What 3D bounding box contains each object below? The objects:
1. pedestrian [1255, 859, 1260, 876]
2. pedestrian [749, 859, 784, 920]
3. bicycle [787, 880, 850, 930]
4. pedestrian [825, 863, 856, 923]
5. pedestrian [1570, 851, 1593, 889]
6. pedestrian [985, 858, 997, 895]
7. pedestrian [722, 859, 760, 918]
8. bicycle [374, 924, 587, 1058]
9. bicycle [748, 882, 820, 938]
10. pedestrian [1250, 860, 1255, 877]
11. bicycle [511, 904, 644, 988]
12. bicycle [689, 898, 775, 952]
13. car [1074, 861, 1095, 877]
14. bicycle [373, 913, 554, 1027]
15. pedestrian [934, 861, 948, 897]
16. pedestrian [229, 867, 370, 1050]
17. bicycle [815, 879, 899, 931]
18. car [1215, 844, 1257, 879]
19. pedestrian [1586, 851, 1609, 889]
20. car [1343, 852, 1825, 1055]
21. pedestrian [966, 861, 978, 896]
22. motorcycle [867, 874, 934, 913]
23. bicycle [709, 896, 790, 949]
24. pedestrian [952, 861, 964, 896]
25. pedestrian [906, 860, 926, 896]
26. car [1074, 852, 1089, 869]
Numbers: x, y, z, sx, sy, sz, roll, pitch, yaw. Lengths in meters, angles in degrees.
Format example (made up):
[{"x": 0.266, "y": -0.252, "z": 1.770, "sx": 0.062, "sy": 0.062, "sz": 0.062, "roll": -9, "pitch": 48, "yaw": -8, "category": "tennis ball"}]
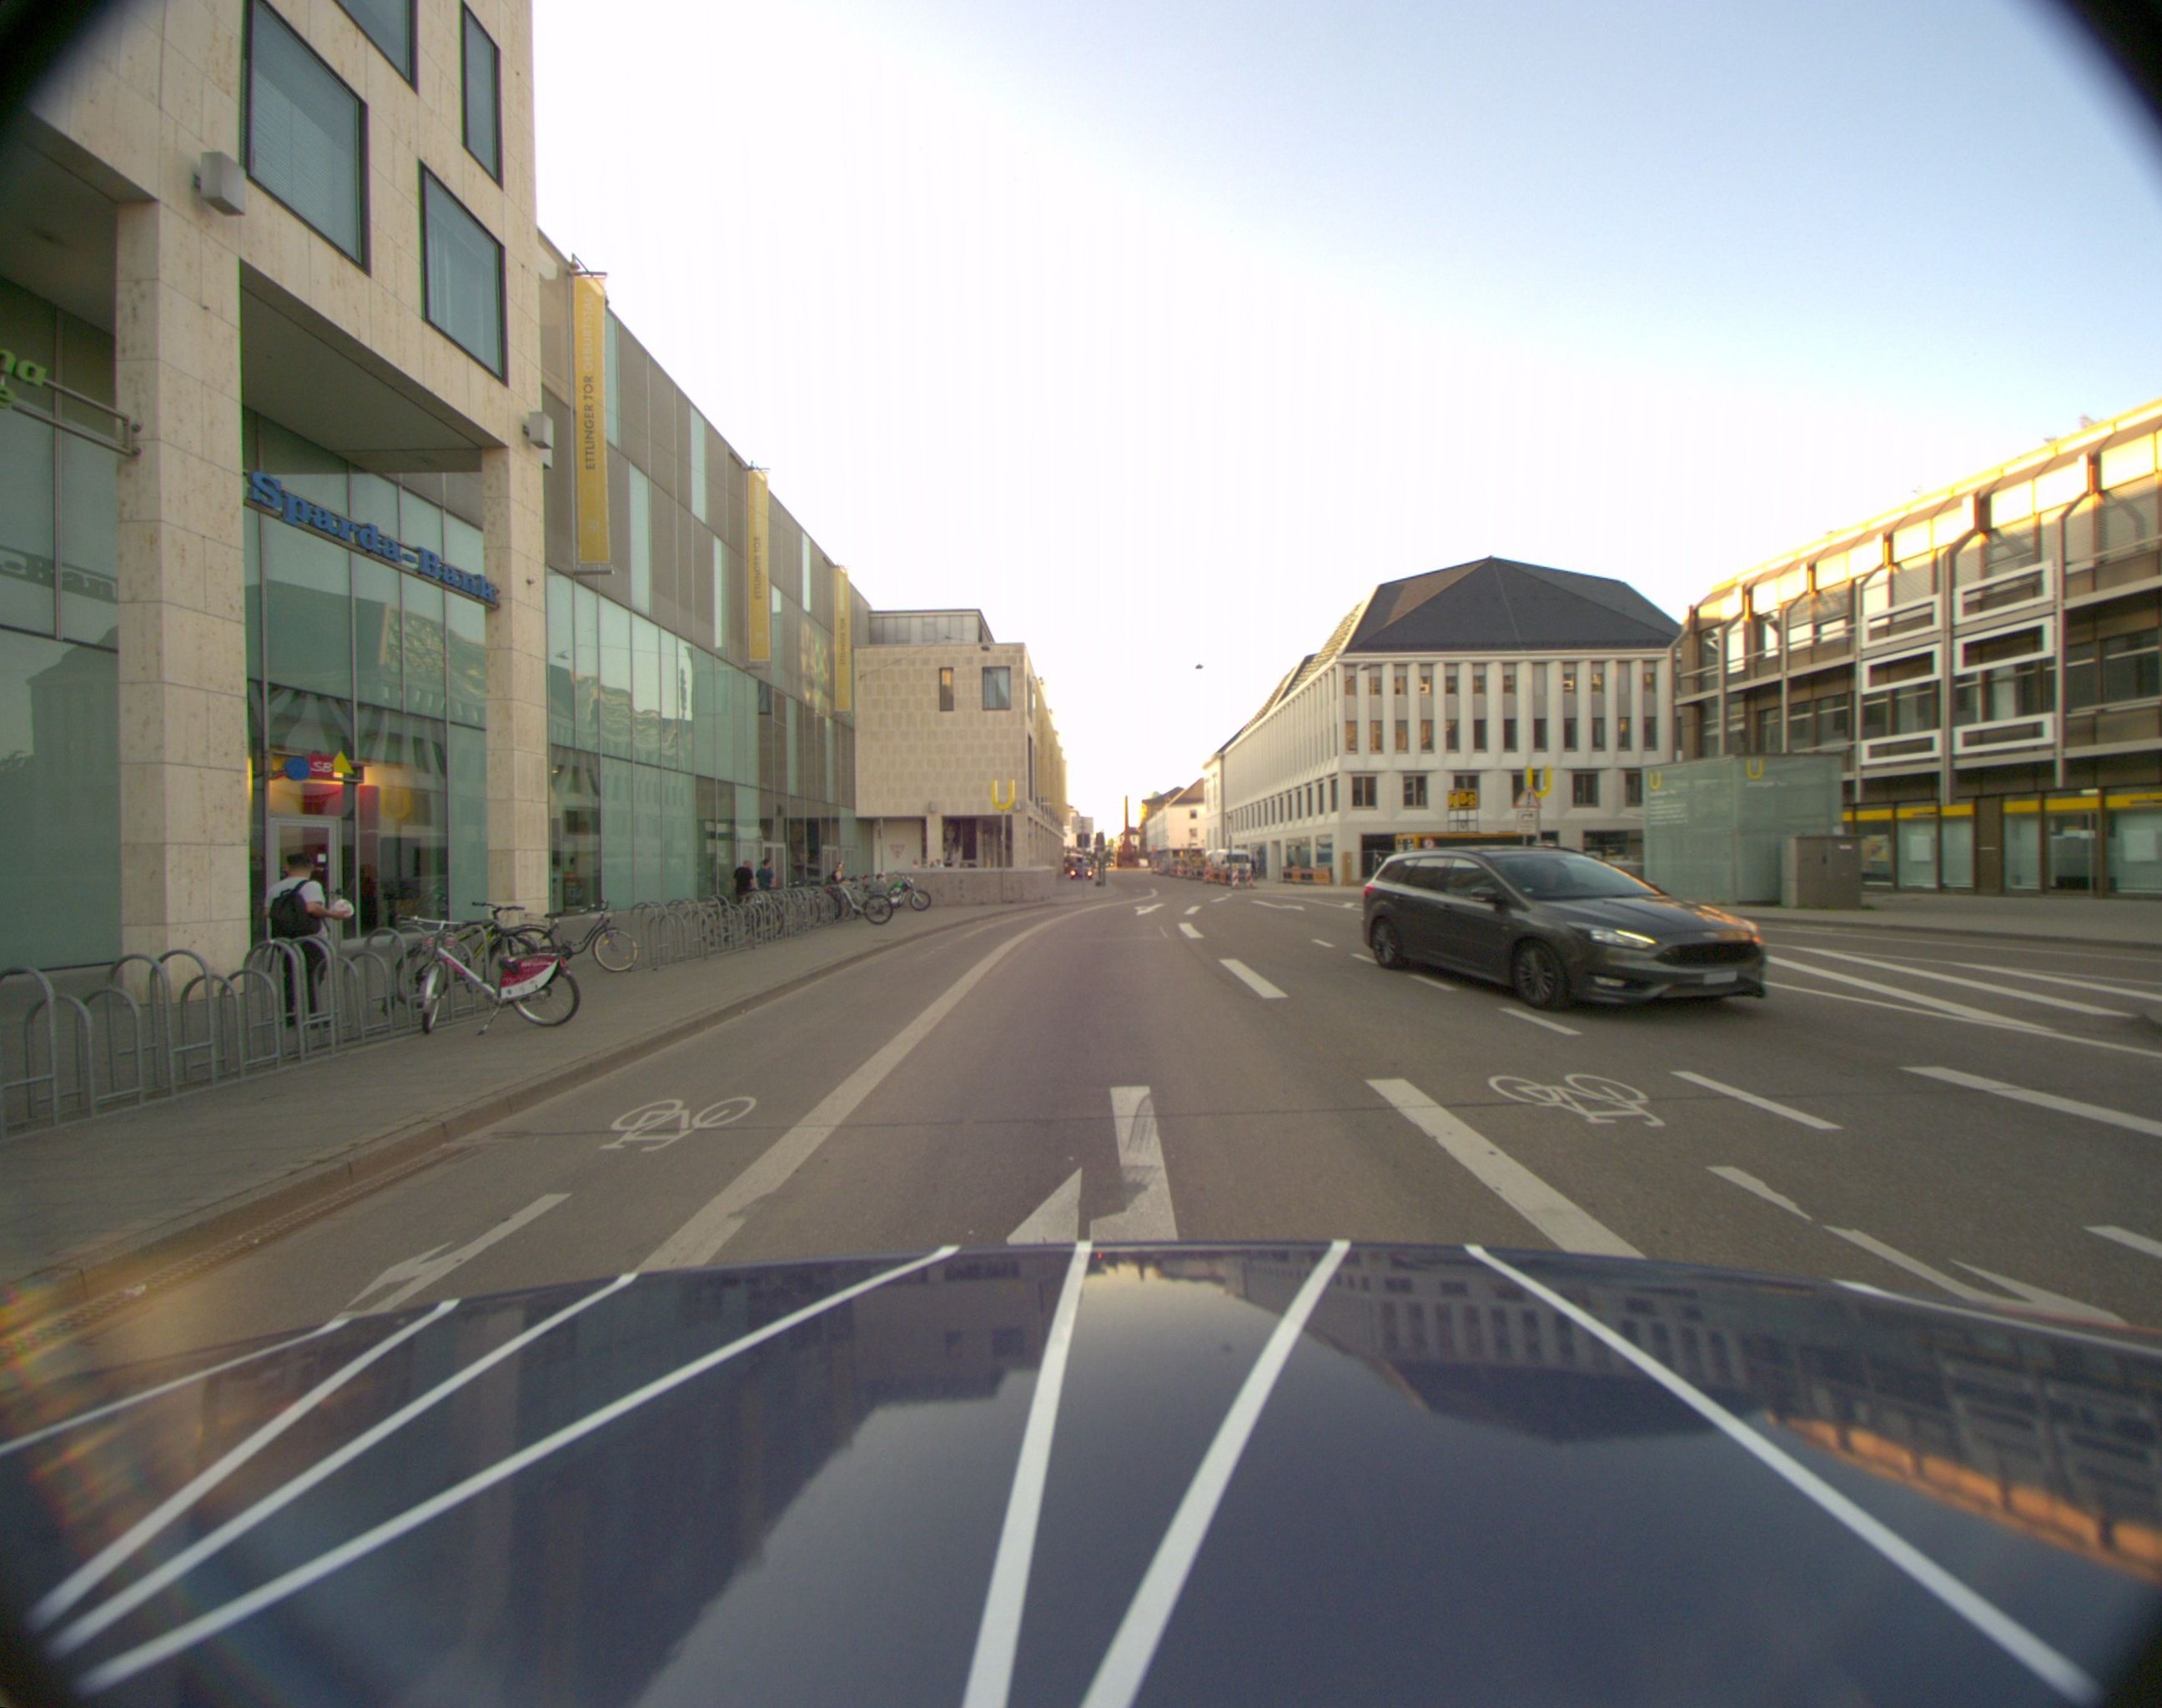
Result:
[{"x": 14.031, "y": 1.082, "z": 60.362, "sx": 0.350, "sy": 1.308, "sz": 0.338, "roll": -1, "pitch": 0, "yaw": 1, "category": "pedestrian"}, {"x": -8.899, "y": 0.975, "z": 21.530, "sx": 0.698, "sy": 1.686, "sz": 0.820, "roll": -1, "pitch": 0, "yaw": -7, "category": "pedestrian"}, {"x": -6.602, "y": 1.268, "z": 19.164, "sx": 1.345, "sy": 1.157, "sz": 0.518, "roll": -3, "pitch": 0, "yaw": -1, "category": "bicycle"}, {"x": -6.673, "y": 1.060, "z": 21.086, "sx": 0.809, "sy": 1.633, "sz": 0.646, "roll": -1, "pitch": 0, "yaw": -18, "category": "pedestrian"}, {"x": 19.887, "y": 0.644, "z": 30.200, "sx": 0.532, "sy": 1.487, "sz": 0.555, "roll": -1, "pitch": 0, "yaw": 1, "category": "pedestrian"}, {"x": -4.325, "y": 1.085, "z": 36.428, "sx": 0.454, "sy": 1.733, "sz": 0.493, "roll": -1, "pitch": 0, "yaw": 3, "category": "pedestrian"}, {"x": -9.686, "y": 0.965, "z": 21.675, "sx": 0.741, "sy": 1.638, "sz": 0.820, "roll": -1, "pitch": 0, "yaw": -7, "category": "pedestrian"}, {"x": -5.397, "y": 1.223, "z": 6.867, "sx": 1.518, "sy": 1.057, "sz": 0.466, "roll": -3, "pitch": 0, "yaw": 1, "category": "bicycle"}, {"x": -6.658, "y": 1.241, "z": 17.078, "sx": 1.345, "sy": 1.157, "sz": 0.518, "roll": -3, "pitch": 0, "yaw": -1, "category": "bicycle"}, {"x": 13.594, "y": 1.161, "z": 60.313, "sx": 0.350, "sy": 1.308, "sz": 0.338, "roll": -1, "pitch": 0, "yaw": 1, "category": "pedestrian"}, {"x": -7.301, "y": 1.318, "z": 11.073, "sx": 1.447, "sy": 1.058, "sz": 0.580, "roll": -3, "pitch": 0, "yaw": -10, "category": "bicycle"}, {"x": -6.653, "y": 1.347, "z": 14.504, "sx": 1.345, "sy": 0.927, "sz": 0.518, "roll": -3, "pitch": 0, "yaw": -1, "category": "bicycle"}, {"x": 0.336, "y": 1.296, "z": 67.818, "sx": 1.798, "sy": 1.365, "sz": 3.671, "roll": -1, "pitch": 0, "yaw": 2, "category": "car"}, {"x": -6.797, "y": 1.262, "z": 8.393, "sx": 1.518, "sy": 1.117, "sz": 0.581, "roll": -3, "pitch": 0, "yaw": 4, "category": "bicycle"}, {"x": -6.914, "y": 1.239, "z": 37.588, "sx": 0.494, "sy": 1.733, "sz": 0.657, "roll": -1, "pitch": 0, "yaw": 3, "category": "pedestrian"}, {"x": -7.610, "y": 0.973, "z": 7.421, "sx": 0.628, "sy": 1.682, "sz": 0.708, "roll": -1, "pitch": 0, "yaw": 12, "category": "pedestrian"}, {"x": -5.387, "y": 1.222, "z": 18.320, "sx": 1.838, "sy": 1.140, "sz": 0.466, "roll": -3, "pitch": 0, "yaw": 1, "category": "bicycle"}, {"x": 11.988, "y": 0.591, "z": 59.164, "sx": 2.141, "sy": 2.540, "sz": 6.050, "roll": -1, "pitch": 0, "yaw": 1, "category": "car"}, {"x": 20.632, "y": 0.637, "z": 30.339, "sx": 0.532, "sy": 1.487, "sz": 0.555, "roll": -1, "pitch": 0, "yaw": 1, "category": "pedestrian"}, {"x": 4.628, "y": 0.768, "z": 7.978, "sx": 1.763, "sy": 1.454, "sz": 4.377, "roll": -2, "pitch": 0, "yaw": -7, "category": "car"}, {"x": -5.419, "y": 1.209, "z": 37.737, "sx": 0.504, "sy": 1.733, "sz": 0.493, "roll": -1, "pitch": 0, "yaw": 3, "category": "pedestrian"}, {"x": -5.709, "y": 1.244, "z": 24.085, "sx": 2.007, "sy": 1.217, "sz": 0.480, "roll": -1, "pitch": 0, "yaw": -2, "category": "motorcycle"}, {"x": -6.595, "y": 1.356, "z": 15.150, "sx": 1.345, "sy": 0.927, "sz": 0.518, "roll": -3, "pitch": 0, "yaw": -1, "category": "bicycle"}, {"x": -6.243, "y": 1.238, "z": 38.559, "sx": 0.454, "sy": 1.733, "sz": 0.493, "roll": -1, "pitch": 0, "yaw": 3, "category": "pedestrian"}, {"x": -8.140, "y": 1.178, "z": 37.559, "sx": 0.793, "sy": 1.733, "sz": 0.657, "roll": -1, "pitch": 0, "yaw": 3, "category": "pedestrian"}, {"x": 0.120, "y": 0.835, "z": 99.939, "sx": 1.798, "sy": 2.198, "sz": 3.671, "roll": -1, "pitch": 0, "yaw": 2, "category": "car"}]
